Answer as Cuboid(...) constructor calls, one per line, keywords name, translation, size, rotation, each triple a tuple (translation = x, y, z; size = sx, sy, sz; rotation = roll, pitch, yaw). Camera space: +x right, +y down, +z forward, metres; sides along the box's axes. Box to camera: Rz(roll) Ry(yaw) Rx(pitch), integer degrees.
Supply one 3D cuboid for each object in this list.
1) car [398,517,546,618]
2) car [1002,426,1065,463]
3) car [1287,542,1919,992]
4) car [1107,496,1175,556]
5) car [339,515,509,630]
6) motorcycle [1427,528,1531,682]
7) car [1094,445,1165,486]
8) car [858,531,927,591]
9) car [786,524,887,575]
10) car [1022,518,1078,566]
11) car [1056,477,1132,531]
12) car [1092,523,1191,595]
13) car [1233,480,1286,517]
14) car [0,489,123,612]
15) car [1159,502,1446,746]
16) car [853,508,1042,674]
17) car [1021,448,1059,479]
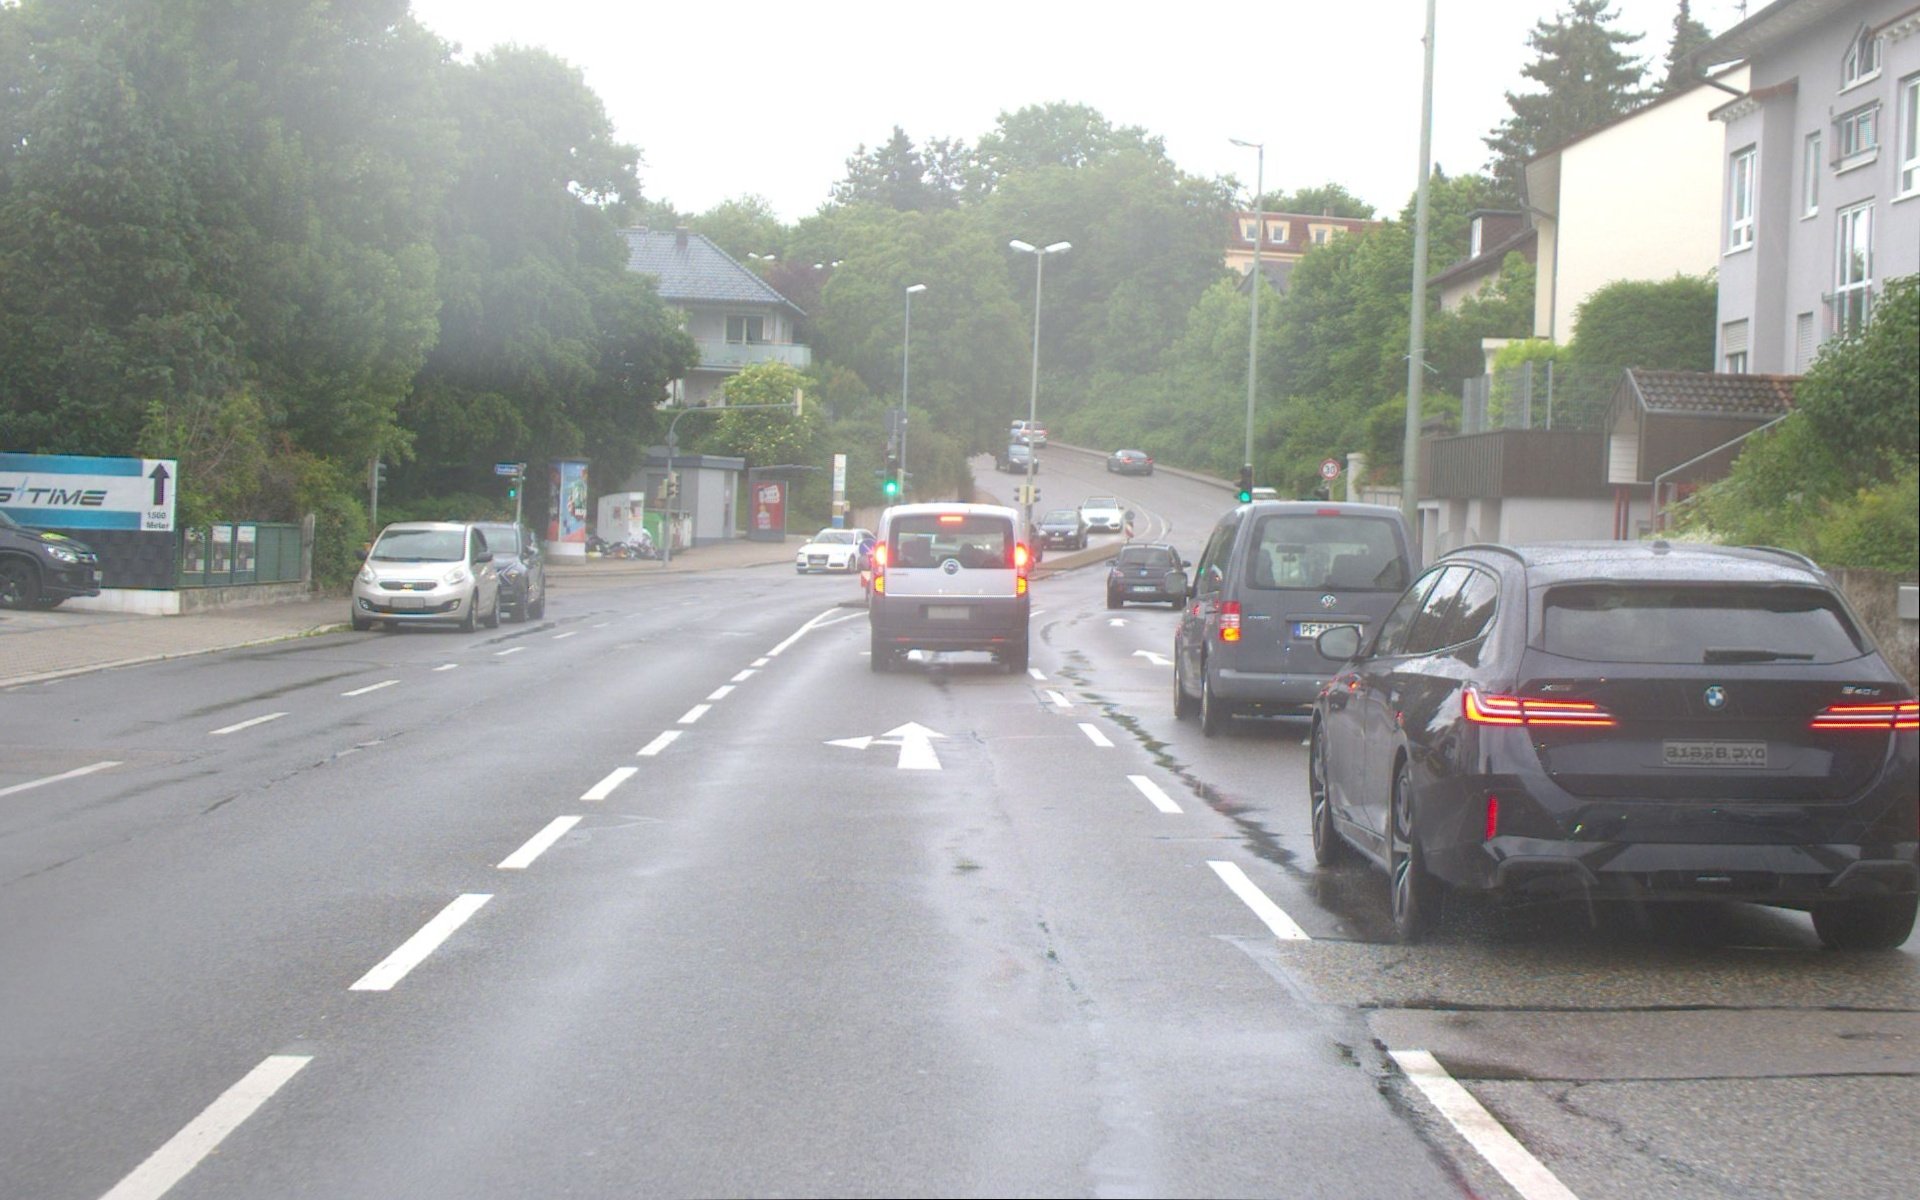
Cuboid(name="car", translation=(-8.147, -0.566, 57.679), size=(1.884, 1.579, 4.000), rotation=(2, 1, 0))
Cuboid(name="car", translation=(4.566, -9.702, 214.059), size=(2.521, 2.006, 5.611), rotation=(1, 5, -13))
Cuboid(name="car", translation=(2.468, 0.541, 13.743), size=(1.993, 1.478, 4.000), rotation=(2, 1, 1))
Cuboid(name="car", translation=(7.131, -2.960, 136.273), size=(2.522, 2.006, 5.609), rotation=(2, 4, 2))
Cuboid(name="car", translation=(-7.908, -0.422, 51.049), size=(1.884, 1.579, 4.000), rotation=(2, 1, 0))
Cuboid(name="motorcycle", translation=(5.253, 0.035, 34.915), size=(0.703, 1.504, 2.150), rotation=(-1, 1, 0))
Cuboid(name="car", translation=(9.505, -7.537, 192.845), size=(2.521, 2.006, 5.611), rotation=(1, 4, -12))
Cuboid(name="car", translation=(-2.062, -1.210, 105.865), size=(1.993, 1.766, 4.000), rotation=(2, 1, 0))
Cuboid(name="car", translation=(-3.955, -1.617, 111.205), size=(1.995, 1.542, 4.393), rotation=(2, 1, 16))
Cuboid(name="car", translation=(3.446, -2.240, 132.276), size=(1.993, 1.766, 4.000), rotation=(1, 1, 0))
Cuboid(name="car", translation=(5.831, -4.212, 150.095), size=(2.521, 2.006, 5.610), rotation=(2, 4, -5))
Cuboid(name="car", translation=(4.115, -0.962, 78.481), size=(1.993, 1.573, 4.000), rotation=(1, 1, 0))
Cuboid(name="car", translation=(13.594, -4.596, 156.419), size=(1.993, 1.579, 4.000), rotation=(2, 1, 0))
Cuboid(name="car", translation=(-13.694, -0.799, 46.729), size=(4.072, 1.511, 1.856), rotation=(5, 1, -1))
Cuboid(name="car", translation=(2.665, 0.146, 27.604), size=(1.838, 1.761, 4.000), rotation=(2, 1, 0))
Cuboid(name="car", translation=(-0.140, -0.132, 39.141), size=(1.993, 1.731, 4.000), rotation=(2, 1, 0))
Cuboid(name="car", translation=(4.447, -7.578, 191.608), size=(1.993, 1.579, 4.000), rotation=(2, 1, 0))
